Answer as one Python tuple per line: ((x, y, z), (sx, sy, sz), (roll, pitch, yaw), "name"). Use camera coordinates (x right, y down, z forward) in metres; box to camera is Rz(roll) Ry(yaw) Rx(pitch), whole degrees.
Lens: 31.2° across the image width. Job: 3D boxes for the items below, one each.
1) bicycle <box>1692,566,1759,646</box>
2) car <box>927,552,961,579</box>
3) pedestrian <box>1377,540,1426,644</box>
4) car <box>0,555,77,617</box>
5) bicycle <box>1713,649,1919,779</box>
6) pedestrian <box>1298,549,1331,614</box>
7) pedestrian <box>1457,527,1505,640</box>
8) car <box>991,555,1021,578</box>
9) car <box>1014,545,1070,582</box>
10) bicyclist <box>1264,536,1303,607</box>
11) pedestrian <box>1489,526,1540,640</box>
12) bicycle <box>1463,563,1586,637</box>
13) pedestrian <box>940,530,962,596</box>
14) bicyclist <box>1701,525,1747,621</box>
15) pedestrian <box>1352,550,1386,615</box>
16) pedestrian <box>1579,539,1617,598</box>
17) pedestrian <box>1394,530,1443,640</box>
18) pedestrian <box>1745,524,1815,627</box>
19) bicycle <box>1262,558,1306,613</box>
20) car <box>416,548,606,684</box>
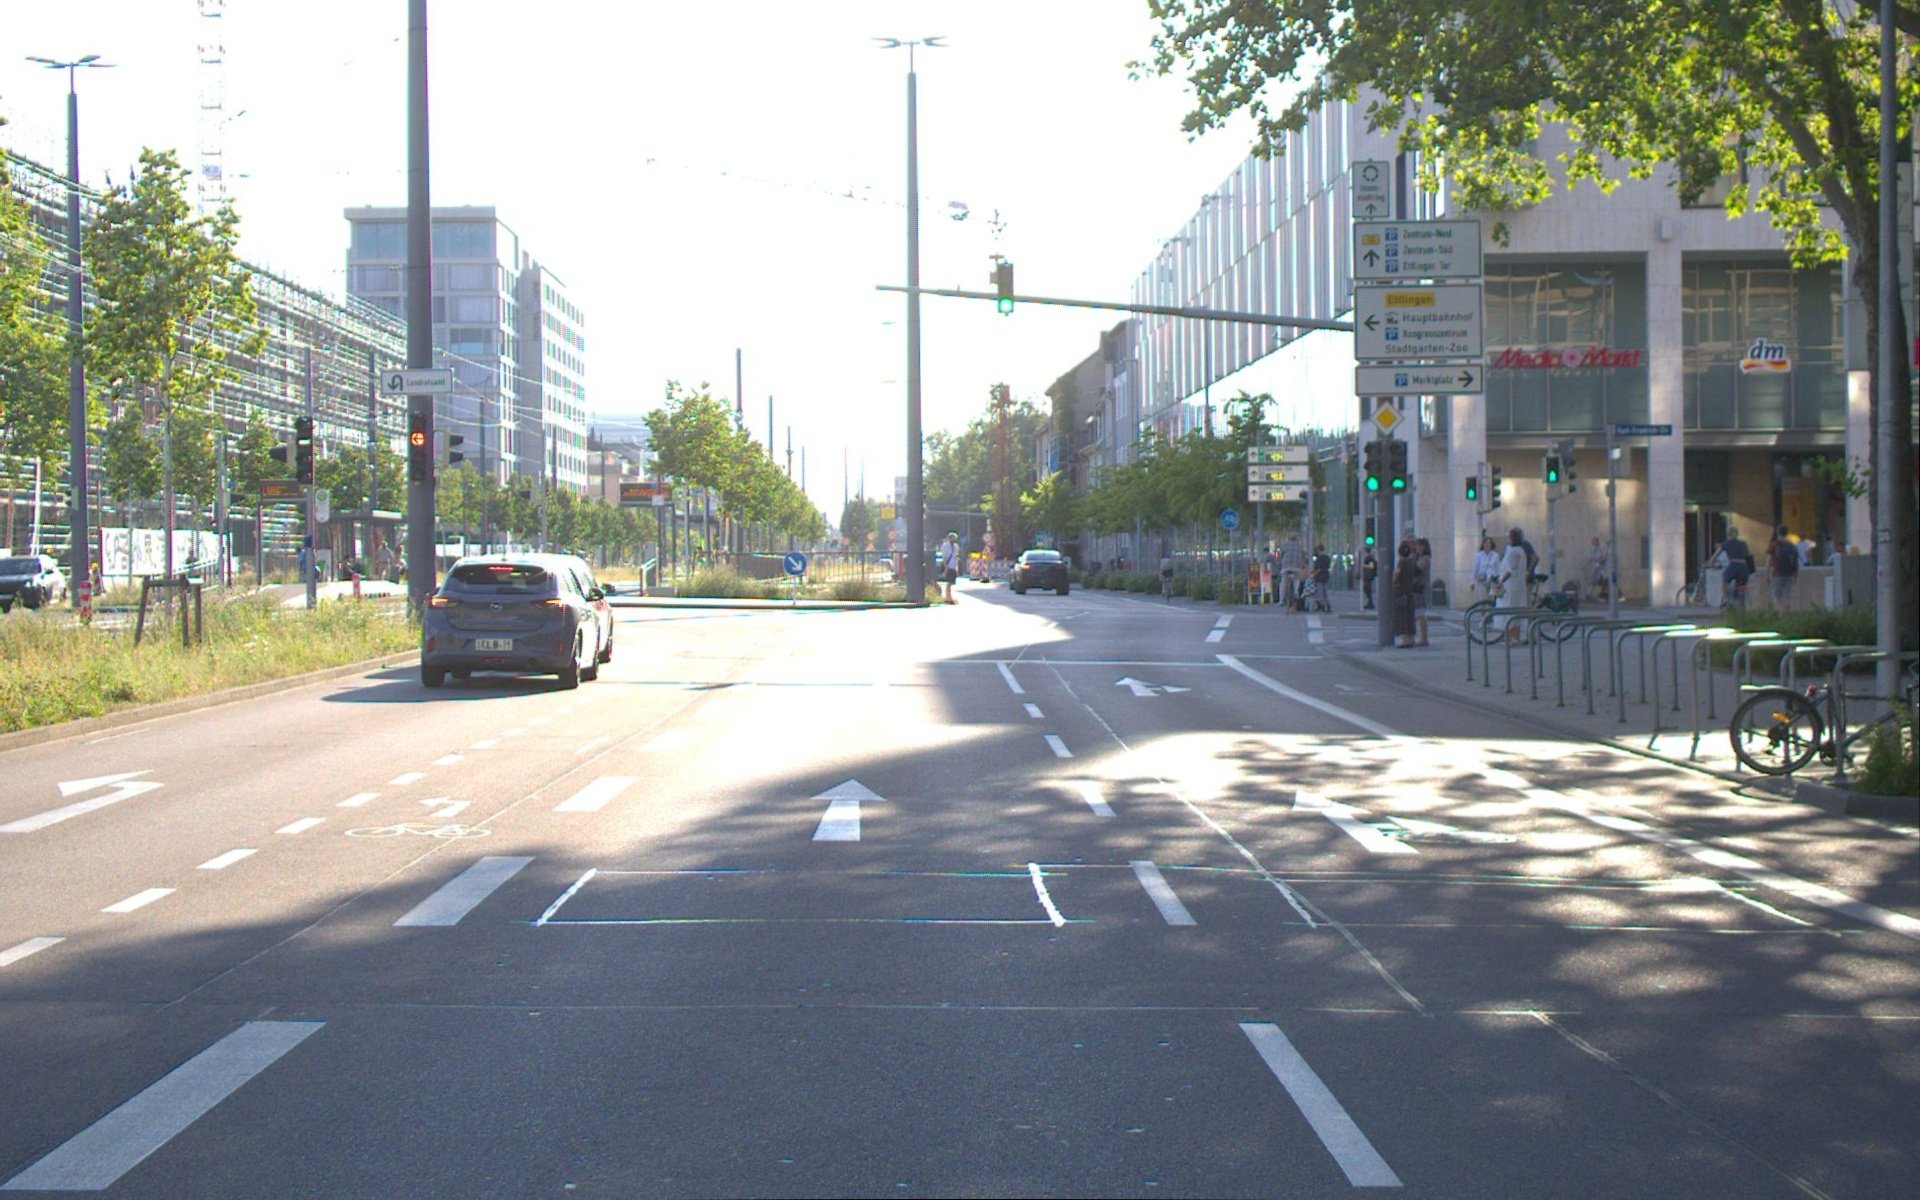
((12.227, 0.082, 54.984), (0.592, 1.227, 2.154), (0, 1, 0), "bicycle")
((-0.906, -1.940, 194.945), (1.759, 1.479, 3.850), (-1, 1, -3), "car")
((6.907, -0.126, 53.762), (0.634, 1.602, 0.570), (-2, 1, 0), "pedestrian")
((-27.671, -0.434, 101.982), (1.993, 1.770, 4.000), (0, 1, -1), "car")
((6.323, 0.814, 24.768), (1.692, 0.864, 0.572), (-2, 1, 8), "bicycle")
((9.448, -0.493, 91.673), (0.817, 1.728, 0.790), (0, 1, 3), "pedestrian")
((9.701, -0.312, 64.022), (0.766, 2.053, 0.797), (-2, 1, 6), "pedestrian")
((2.933, -2.178, 220.152), (1.703, 1.423, 3.926), (-1, 1, -3), "car")
((3.257, -1.448, 136.632), (1.940, 1.423, 3.926), (-1, 1, -3), "car")
((7.271, -0.639, 77.251), (0.800, 1.596, 0.785), (0, 1, 11), "bicyclist")
((8.407, -0.267, 52.131), (0.634, 1.697, 0.570), (-2, 1, 0), "pedestrian")
((8.741, 0.000, 53.246), (1.803, 1.082, 0.479), (-2, 1, 1), "bicycle")
((-0.242, -0.984, 90.679), (0.492, 1.737, 0.447), (-1, 1, -11), "pedestrian")
((12.228, -0.437, 55.040), (0.578, 1.517, 0.749), (0, 1, 0), "bicyclist")
((10.898, -0.464, 91.595), (0.817, 1.728, 0.790), (0, 1, 3), "pedestrian")
((17.425, -0.864, 93.944), (0.870, 1.580, 0.824), (-2, 1, 3), "pedestrian")
((7.236, -0.240, 54.270), (0.634, 1.697, 0.570), (-2, 1, 0), "pedestrian")
((13.807, -0.419, 57.888), (0.909, 1.697, 1.113), (0, 1, 0), "pedestrian")
((7.289, -0.338, 77.301), (0.800, 1.200, 2.263), (0, 1, 10), "bicycle")
((-4.998, 0.139, 38.689), (1.776, 1.423, 4.001), (0, 1, -3), "car")
